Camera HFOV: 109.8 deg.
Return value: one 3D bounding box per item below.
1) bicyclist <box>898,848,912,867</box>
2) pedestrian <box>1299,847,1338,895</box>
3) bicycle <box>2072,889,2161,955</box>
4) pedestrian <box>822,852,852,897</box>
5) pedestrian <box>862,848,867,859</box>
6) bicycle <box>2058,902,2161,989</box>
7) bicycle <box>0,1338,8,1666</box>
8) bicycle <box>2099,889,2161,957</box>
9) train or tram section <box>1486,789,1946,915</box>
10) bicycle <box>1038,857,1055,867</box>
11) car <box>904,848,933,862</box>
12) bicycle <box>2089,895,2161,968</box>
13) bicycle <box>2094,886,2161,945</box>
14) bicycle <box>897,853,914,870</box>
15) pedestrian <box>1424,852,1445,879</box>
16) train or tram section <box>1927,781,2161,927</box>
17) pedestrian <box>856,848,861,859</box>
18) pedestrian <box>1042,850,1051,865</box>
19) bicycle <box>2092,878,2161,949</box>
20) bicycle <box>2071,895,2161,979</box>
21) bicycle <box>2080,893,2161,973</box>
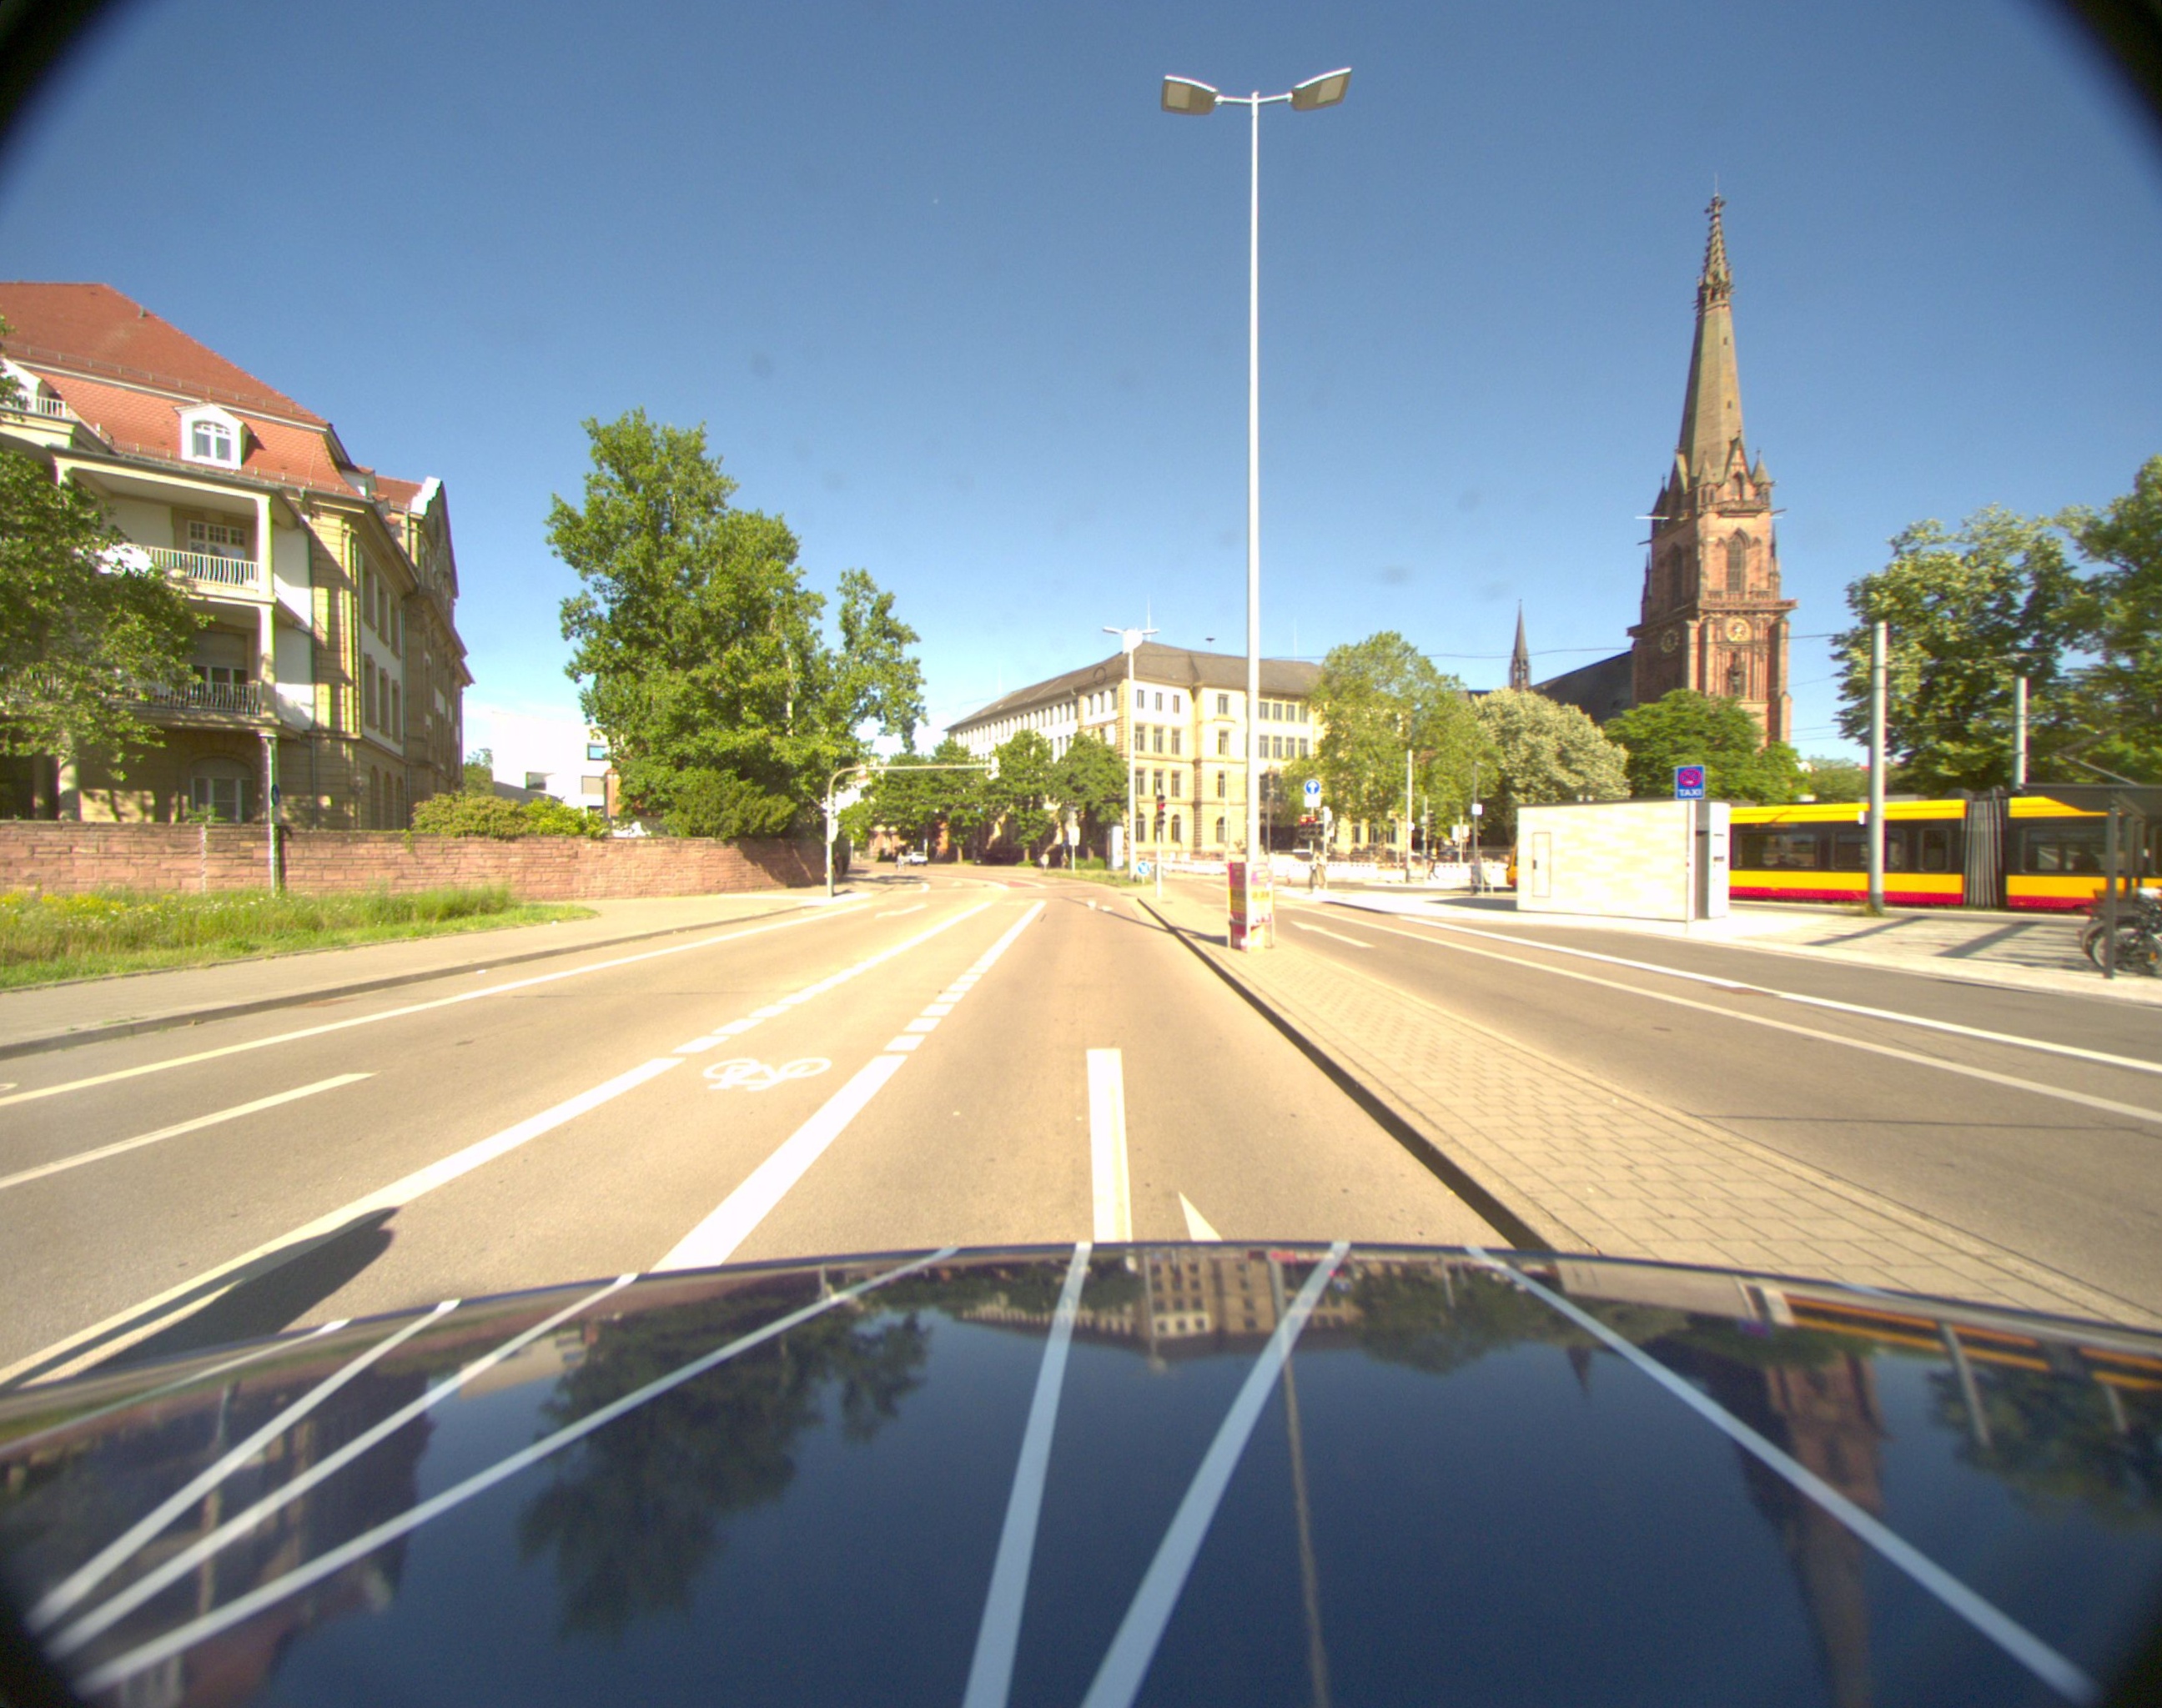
[{"bbox_3d":[-15.038,0.284,64.966,0.871,1.551,1.277,-1,1,-29],"label":"bicyclist"},{"bbox_3d":[9.318,0.647,29.835,1.230,1.845,0.826,0,1,-11],"label":"pedestrian"},{"bbox_3d":[17.808,1.131,12.465,0.630,1.002,1.826,-1,1,-32],"label":"bicycle"},{"bbox_3d":[-10.305,0.845,32.107,0.960,1.839,0.731,1,1,4],"label":"pedestrian"},{"bbox_3d":[-34.933,-0.056,122.623,0.757,1.802,0.979,0,1,-12],"label":"pedestrian"},{"bbox_3d":[13.931,1.201,9.597,0.702,1.002,1.863,-1,2,-32],"label":"bicycle"},{"bbox_3d":[-2.704,1.244,0.691,0.749,1.044,1.903,0,1,-1],"label":"bicycle"},{"bbox_3d":[17.161,1.093,11.629,0.630,1.002,1.826,-1,1,-32],"label":"bicycle"},{"bbox_3d":[21.779,-0.100,27.625,2.806,3.580,12.504,-1,1,-35],"label":"train or tram section"},{"bbox_3d":[-3.364,0.768,73.830,0.602,1.000,1.982,-3,1,-39],"label":"bicycle"},{"bbox_3d":[-18.964,0.060,88.597,1.851,1.543,4.324,1,1,-33],"label":"car"},{"bbox_3d":[16.174,1.156,11.005,0.630,1.002,1.826,-1,1,-32],"label":"bicycle"},{"bbox_3d":[19.521,1.118,13.462,0.630,1.002,1.826,-1,1,-32],"label":"bicycle"},{"bbox_3d":[-15.010,0.609,64.944,0.763,1.360,2.731,-1,1,-28],"label":"bicycle"},{"bbox_3d":[22.560,0.724,48.491,0.807,1.731,0.933,-1,1,-35],"label":"pedestrian"},{"bbox_3d":[28.835,0.002,17.434,2.806,3.580,12.294,-1,1,-35],"label":"train or tram section"},{"bbox_3d":[-35.703,-0.049,121.925,0.758,1.802,0.979,0,1,-16],"label":"pedestrian"},{"bbox_3d":[-3.350,0.334,73.797,0.597,1.394,0.644,-3,2,-38],"label":"pedestrian"},{"bbox_3d":[18.942,1.041,13.054,0.630,1.173,1.826,-1,1,-32],"label":"bicycle"},{"bbox_3d":[14.667,1.124,10.067,0.630,1.059,1.826,-1,1,-32],"label":"bicycle"},{"bbox_3d":[15.137,1.110,10.332,0.574,1.045,1.826,-1,1,-32],"label":"bicycle"}]
